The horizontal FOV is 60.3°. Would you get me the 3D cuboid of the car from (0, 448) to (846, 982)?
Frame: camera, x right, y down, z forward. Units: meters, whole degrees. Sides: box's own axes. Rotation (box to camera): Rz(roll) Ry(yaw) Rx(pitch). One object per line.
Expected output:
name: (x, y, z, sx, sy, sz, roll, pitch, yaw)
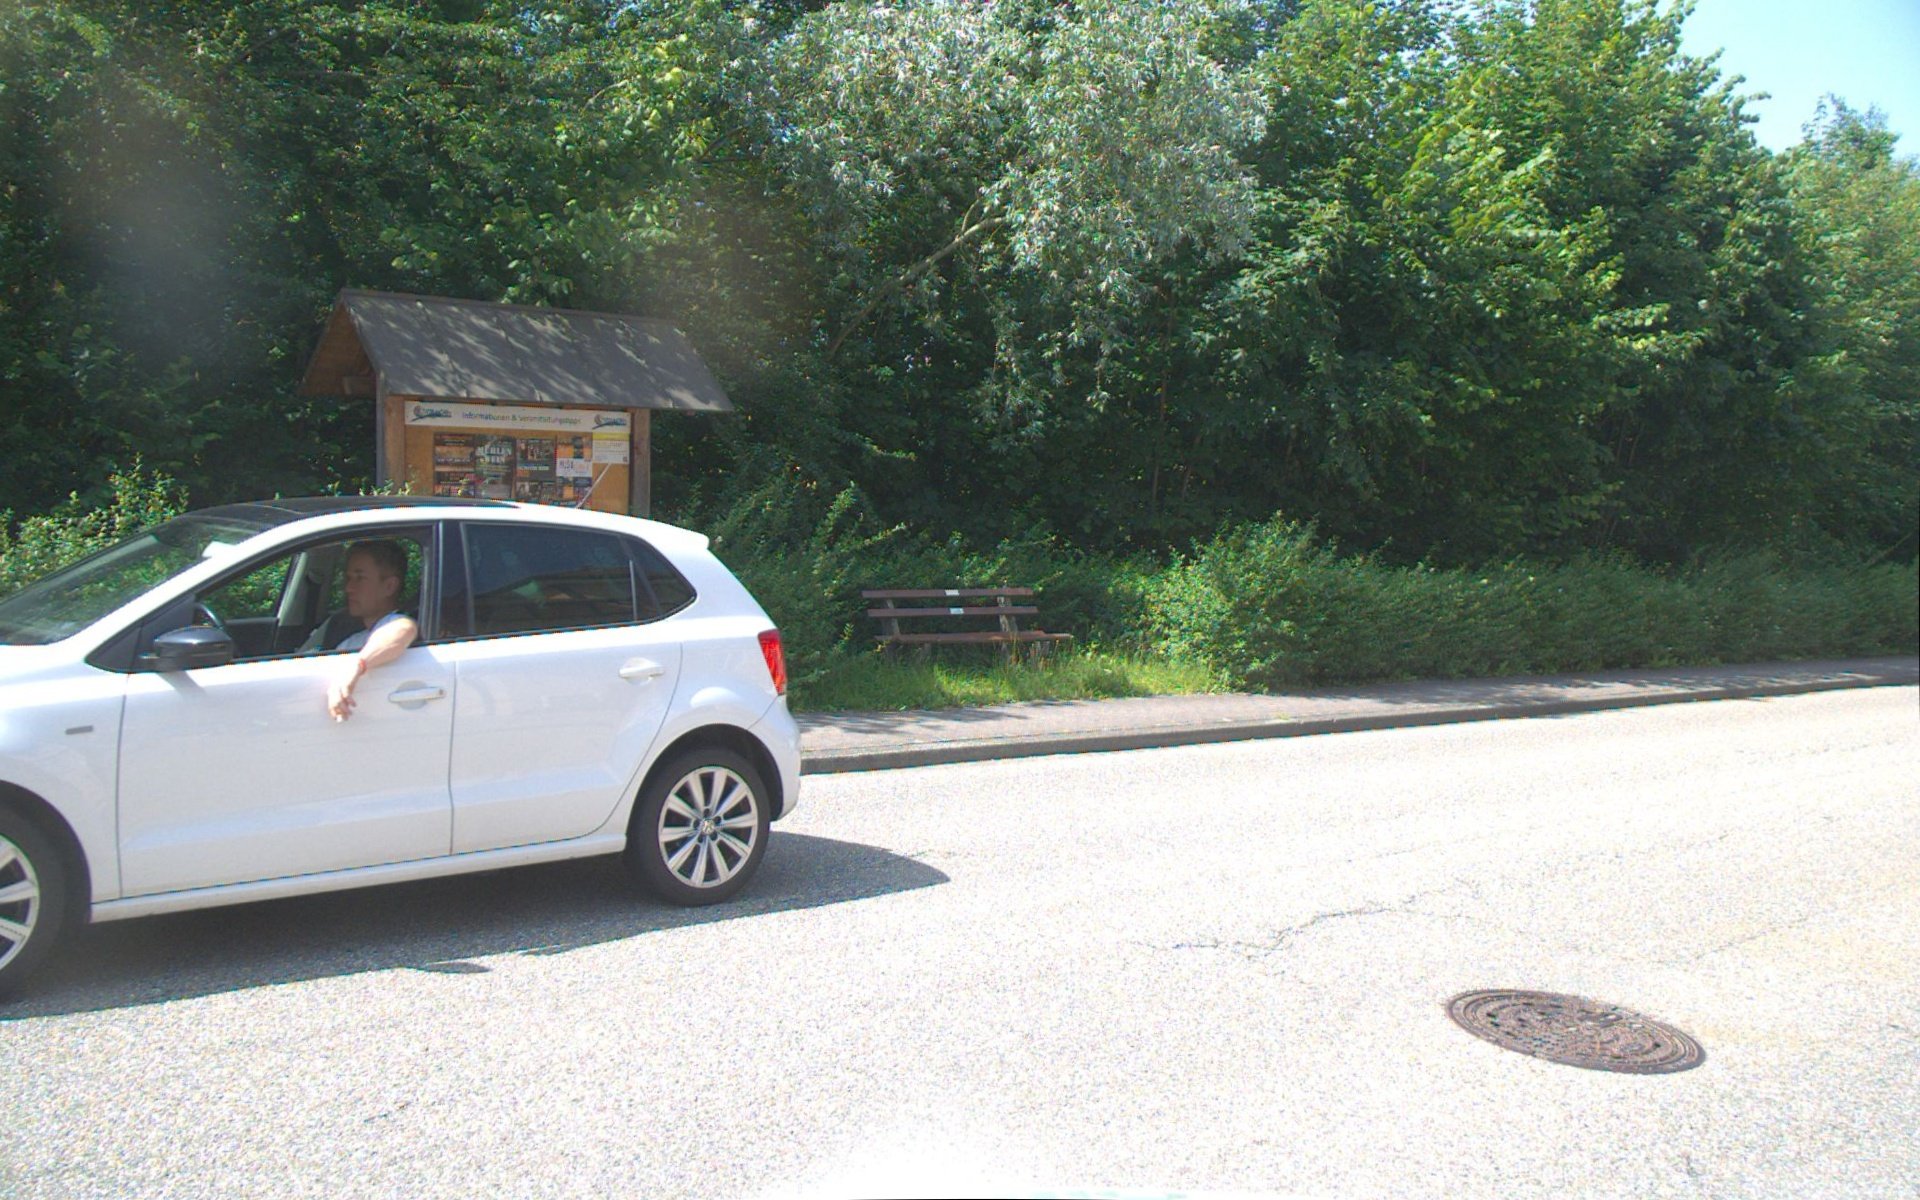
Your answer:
car: (-2.375, 0.300, 5.680, 3.795, 1.430, 1.585, 1, 1, -43)
